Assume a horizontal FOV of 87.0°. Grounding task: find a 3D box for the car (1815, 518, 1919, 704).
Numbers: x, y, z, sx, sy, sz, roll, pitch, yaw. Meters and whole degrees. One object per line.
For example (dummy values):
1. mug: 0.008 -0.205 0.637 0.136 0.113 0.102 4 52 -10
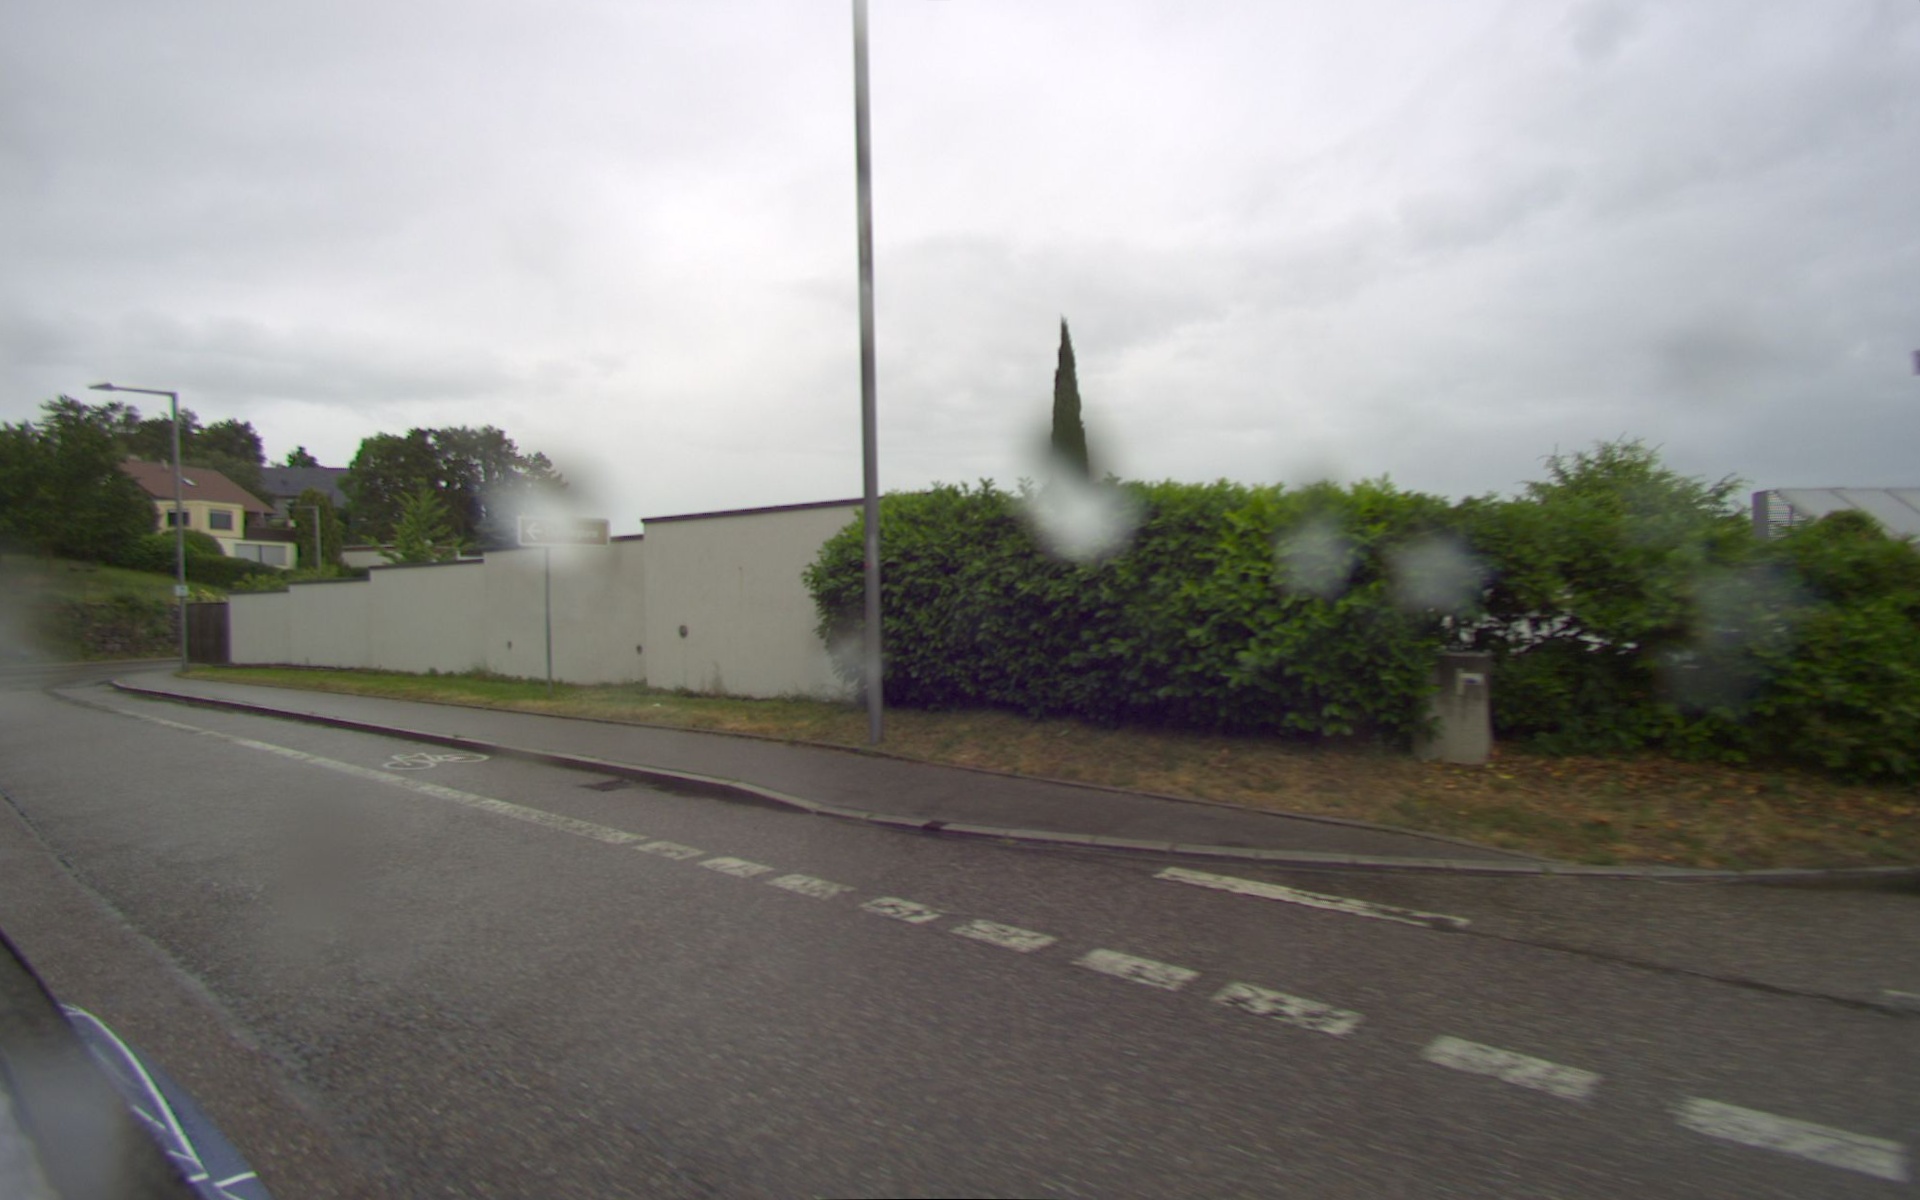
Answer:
1. car: 16.448 0.152 15.416 2.806 2.903 7.470 -1 -5 21
